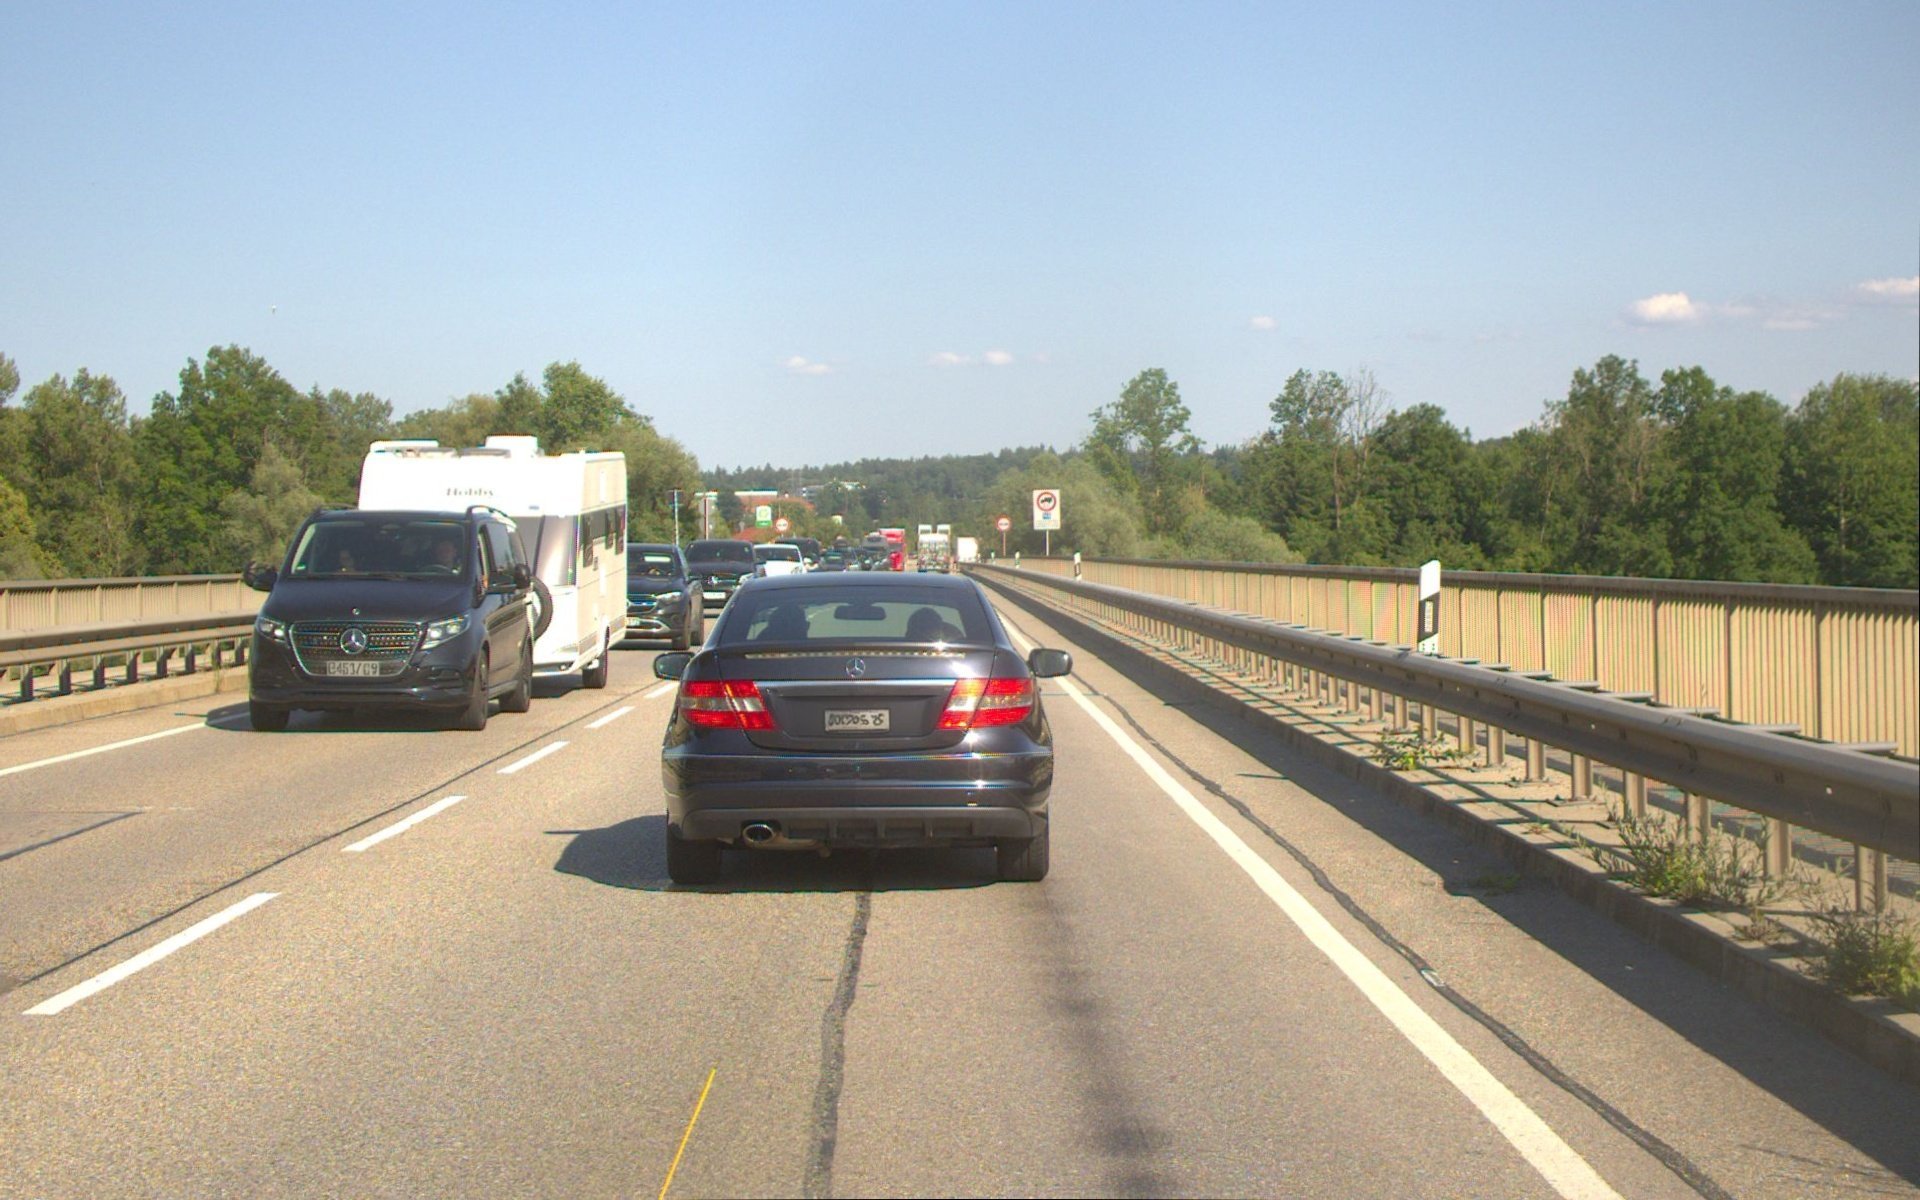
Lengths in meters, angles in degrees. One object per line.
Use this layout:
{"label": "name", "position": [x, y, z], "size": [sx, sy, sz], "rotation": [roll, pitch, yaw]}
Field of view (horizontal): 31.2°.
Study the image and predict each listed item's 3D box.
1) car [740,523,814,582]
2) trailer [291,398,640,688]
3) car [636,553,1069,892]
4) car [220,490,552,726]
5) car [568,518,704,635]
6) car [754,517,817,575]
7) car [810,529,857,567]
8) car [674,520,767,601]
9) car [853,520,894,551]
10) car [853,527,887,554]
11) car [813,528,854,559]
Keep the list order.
{"label": "car", "position": [-5.401, -1.427, 101.818], "size": [1.983, 1.645, 4.598], "rotation": [1, 2, -1]}
{"label": "trailer", "position": [-5.046, -0.635, 36.497], "size": [2.555, 2.728, 8.063], "rotation": [0, 1, 0]}
{"label": "car", "position": [-0.453, 0.482, 16.291], "size": [1.793, 1.371, 4.000], "rotation": [0, 1, 0]}
{"label": "car", "position": [-4.885, 0.015, 29.982], "size": [1.983, 1.847, 5.008], "rotation": [-1, 1, 0]}
{"label": "car", "position": [-4.891, -0.397, 52.408], "size": [1.802, 1.655, 4.434], "rotation": [1, 2, -2]}
{"label": "car", "position": [-5.921, -1.833, 116.051], "size": [2.037, 1.867, 5.071], "rotation": [1, 2, -3]}
{"label": "car", "position": [-5.026, -2.075, 136.171], "size": [1.765, 1.442, 4.457], "rotation": [-1, 1, -3]}
{"label": "car", "position": [-5.255, -0.901, 75.748], "size": [1.949, 1.688, 4.478], "rotation": [1, 2, -3]}
{"label": "car", "position": [-4.812, -3.602, 191.041], "size": [2.053, 1.647, 4.722], "rotation": [1, 2, -4]}
{"label": "car", "position": [-5.426, -3.609, 206.951], "size": [1.806, 1.572, 4.202], "rotation": [-1, 1, -4]}
{"label": "car", "position": [-6.040, -2.693, 163.961], "size": [1.866, 1.439, 4.457], "rotation": [-1, 1, -3]}
